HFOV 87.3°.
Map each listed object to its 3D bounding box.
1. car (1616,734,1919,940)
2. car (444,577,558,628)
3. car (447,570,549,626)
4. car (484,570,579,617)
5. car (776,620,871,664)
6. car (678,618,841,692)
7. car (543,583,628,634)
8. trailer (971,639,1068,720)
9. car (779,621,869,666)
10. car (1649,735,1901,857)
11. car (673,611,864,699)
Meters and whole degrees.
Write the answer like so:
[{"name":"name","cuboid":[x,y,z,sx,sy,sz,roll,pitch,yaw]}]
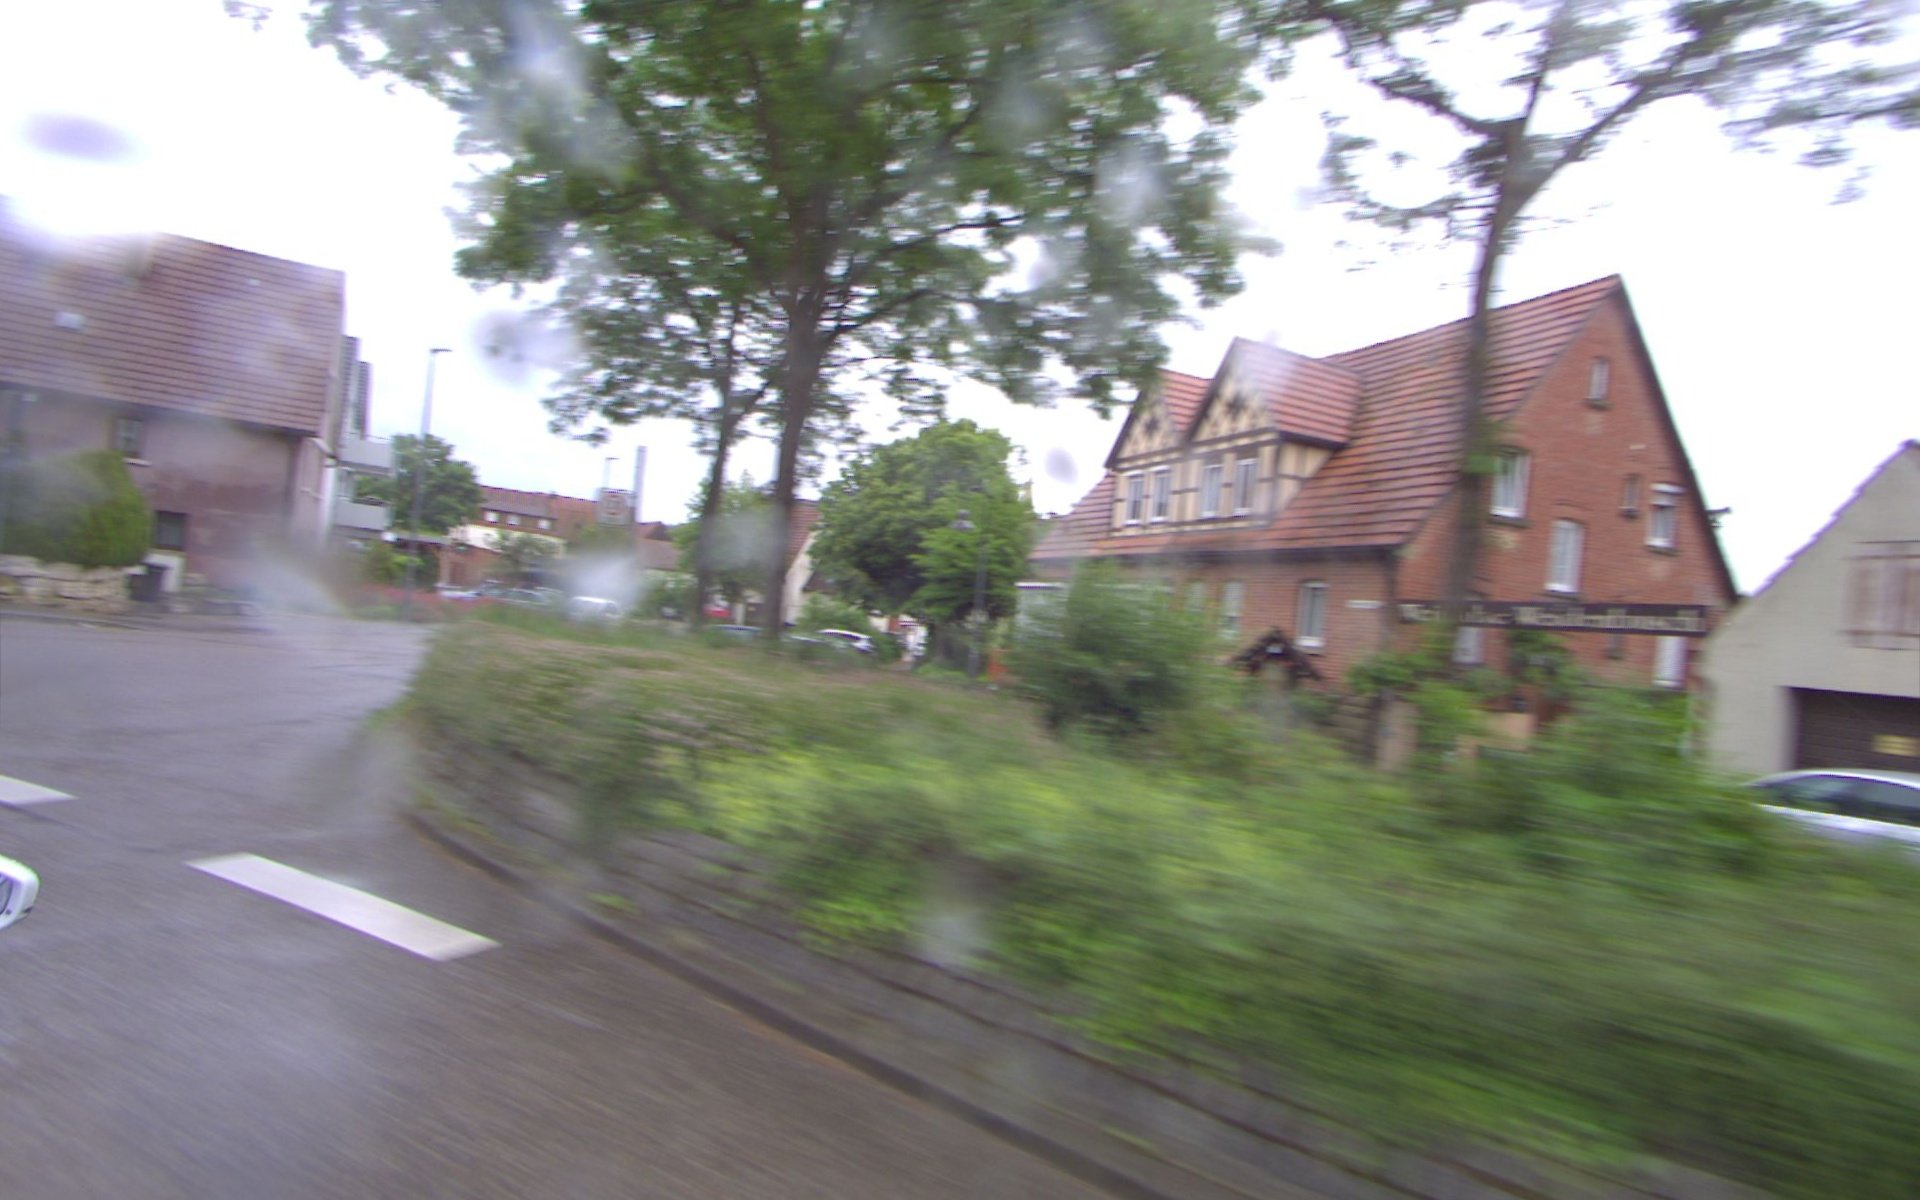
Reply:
[{"name":"car","cuboid":[9.277,2.406,10.001,1.881,1.456,4.247,6,-1,-21]},{"name":"car","cuboid":[-18.668,0.106,40.933,3.958,1.473,1.933,9,-2,-29]},{"name":"car","cuboid":[-20.950,-0.076,45.670,3.954,1.903,1.829,9,-2,-26]},{"name":"car","cuboid":[-20.993,-0.334,49.273,3.956,1.716,1.986,9,-2,-28]},{"name":"car","cuboid":[-6.825,2.143,50.824,4.402,1.569,2.001,8,-2,-2]},{"name":"car","cuboid":[-5.183,1.429,26.312,3.932,1.406,1.622,8,-2,-9]},{"name":"car","cuboid":[-13.637,0.370,36.882,1.726,1.553,4.150,7,-2,-5]},{"name":"trailer","cuboid":[1.446,1.959,25.297,1.391,1.668,2.717,8,-2,-16]},{"name":"car","cuboid":[-6.469,2.088,48.273,3.928,1.569,2.001,8,-2,-2]},{"name":"car","cuboid":[13.990,3.369,17.257,3.949,1.513,1.594,9,-2,-22]},{"name":"car","cuboid":[-4.175,1.213,22.131,3.663,1.406,1.626,7,-2,14]}]
